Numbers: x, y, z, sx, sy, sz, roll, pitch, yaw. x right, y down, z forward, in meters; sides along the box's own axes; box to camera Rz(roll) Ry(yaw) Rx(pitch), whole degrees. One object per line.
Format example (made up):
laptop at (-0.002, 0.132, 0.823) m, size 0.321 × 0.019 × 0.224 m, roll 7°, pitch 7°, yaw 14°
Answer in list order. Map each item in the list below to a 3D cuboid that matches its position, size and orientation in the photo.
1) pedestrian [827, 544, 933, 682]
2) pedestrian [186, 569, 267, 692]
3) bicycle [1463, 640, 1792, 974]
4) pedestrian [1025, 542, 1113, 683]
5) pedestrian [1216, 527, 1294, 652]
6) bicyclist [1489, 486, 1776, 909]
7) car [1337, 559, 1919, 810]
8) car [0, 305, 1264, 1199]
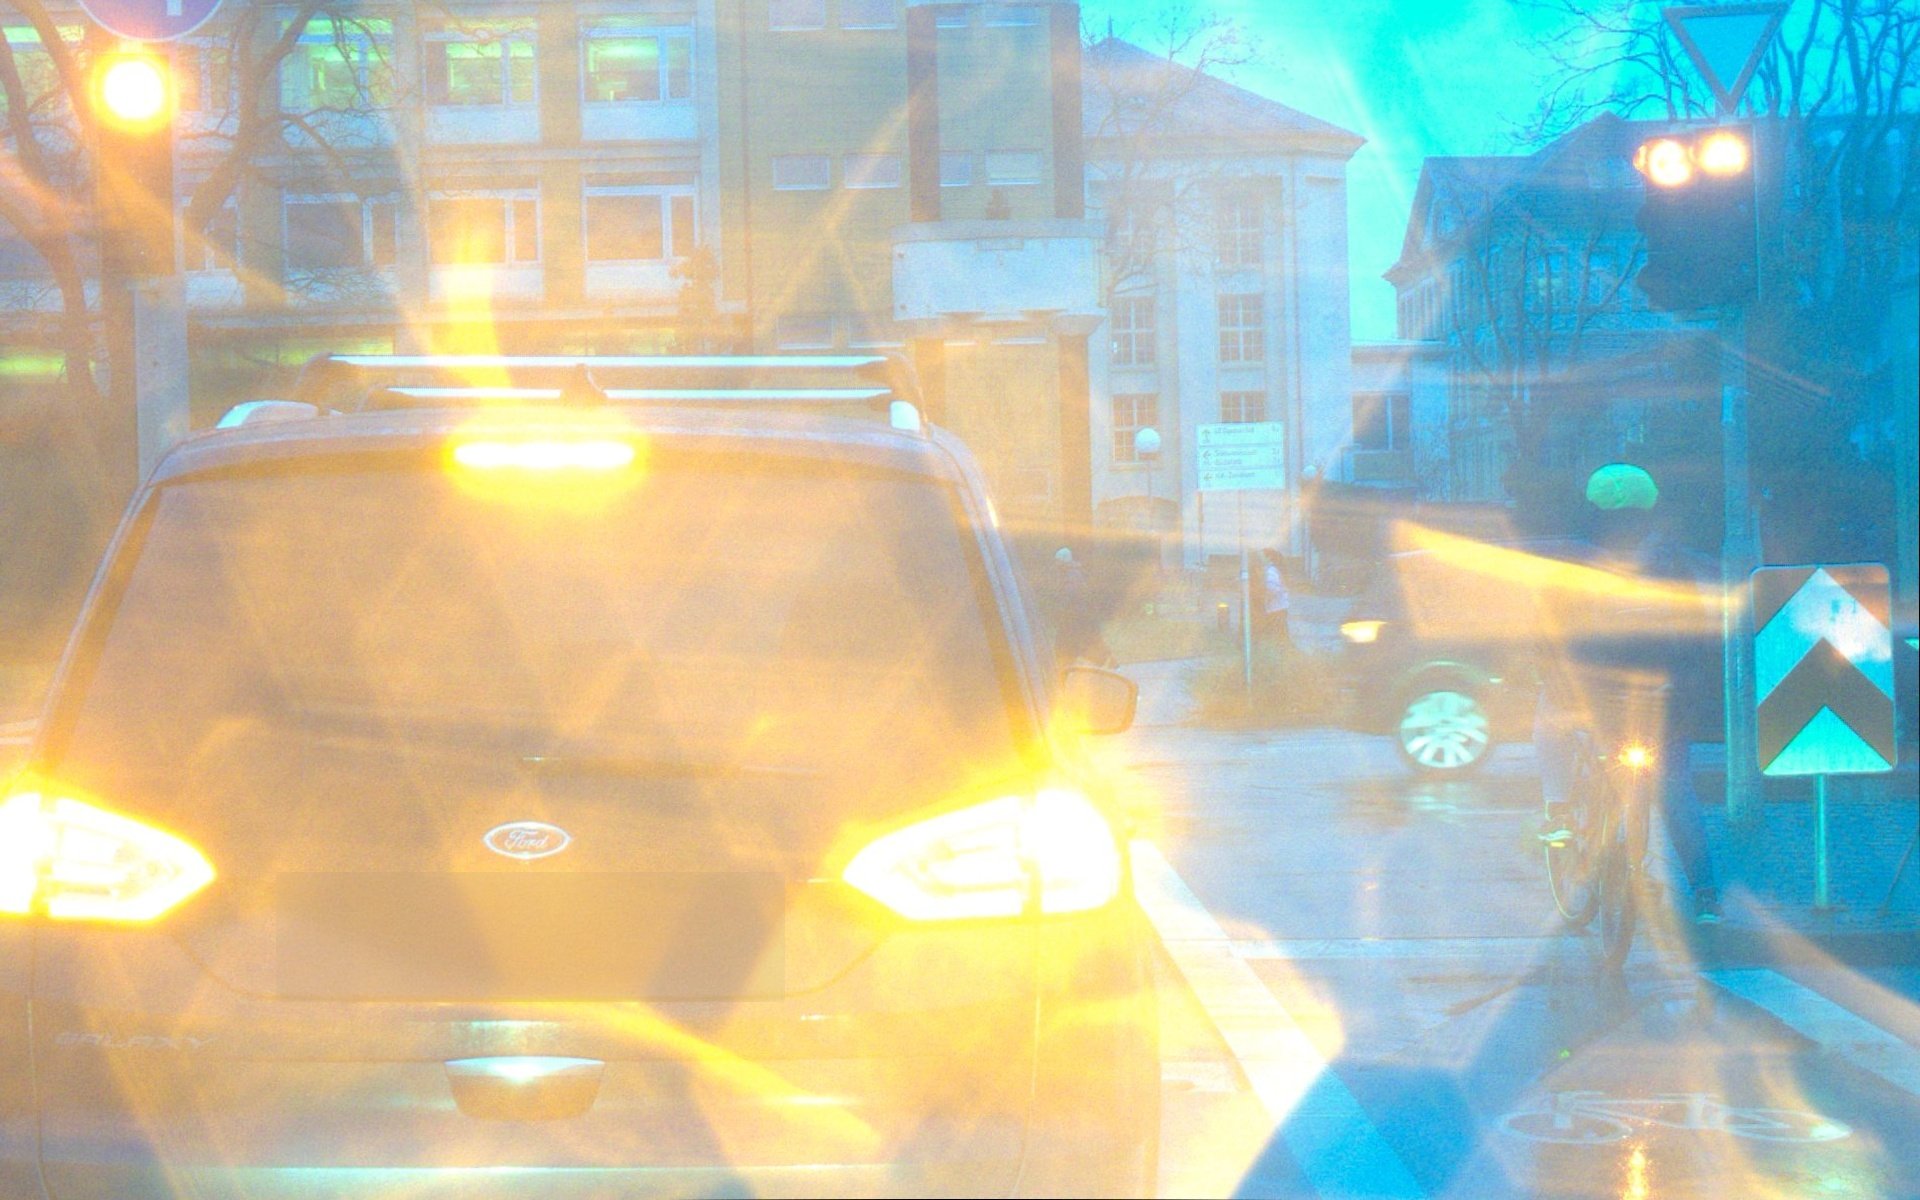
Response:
pedestrian at (-1.026, 0.161, 44.528) m, size 1.136 × 1.714 × 0.981 m, roll -2°, pitch 1°, yaw 10°
pedestrian at (-9.997, 0.413, 46.868) m, size 0.760 × 1.622 × 0.721 m, roll -2°, pitch 1°, yaw 20°
bicycle at (2.390, 0.709, 12.546) m, size 0.783 × 1.071 × 1.957 m, roll 1°, pitch 1°, yaw -1°
pedestrian at (1.433, 0.162, 45.223) m, size 0.997 × 1.793 × 0.919 m, roll -2°, pitch 1°, yaw 9°
pedestrian at (3.729, -0.143, 43.478) m, size 0.924 × 1.527 × 1.043 m, roll -2°, pitch 1°, yaw 4°
bicyclist at (2.404, 0.330, 12.415) m, size 0.783 × 1.448 × 1.134 m, roll 1°, pitch 0°, yaw -1°
car at (4.467, 0.524, 22.349) m, size 3.956 × 1.472 × 1.811 m, roll -2°, pitch 0°, yaw 7°
car at (-0.629, 0.490, 6.560) m, size 1.993 × 1.783 × 4.000 m, roll 1°, pitch 1°, yaw -1°
